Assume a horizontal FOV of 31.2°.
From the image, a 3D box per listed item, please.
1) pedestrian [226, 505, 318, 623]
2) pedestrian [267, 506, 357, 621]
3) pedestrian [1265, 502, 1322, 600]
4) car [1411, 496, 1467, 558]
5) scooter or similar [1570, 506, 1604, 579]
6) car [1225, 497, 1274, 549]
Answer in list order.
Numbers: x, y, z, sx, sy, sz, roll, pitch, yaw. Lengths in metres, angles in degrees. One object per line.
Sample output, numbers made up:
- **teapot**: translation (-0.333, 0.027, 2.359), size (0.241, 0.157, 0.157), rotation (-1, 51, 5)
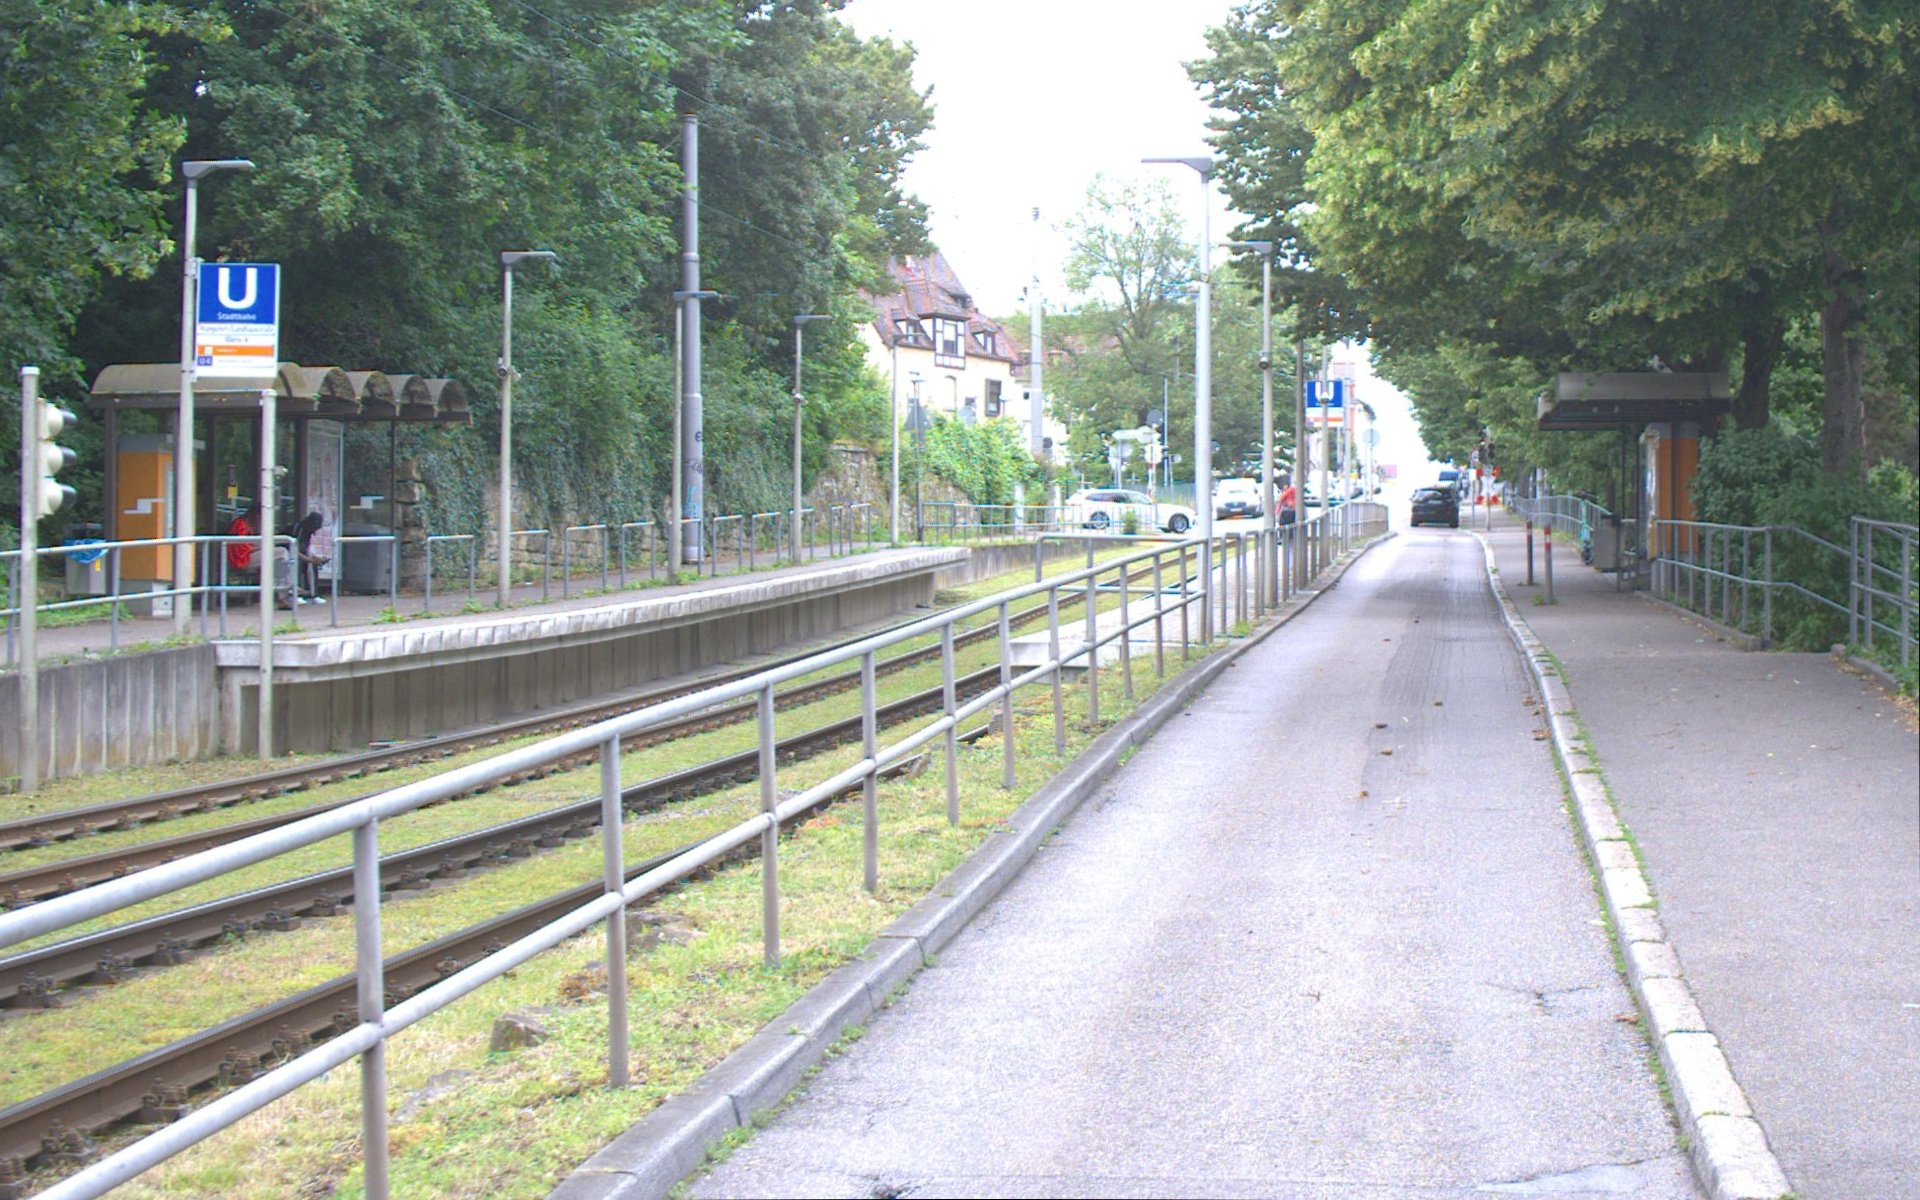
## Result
- **pedestrian**: translation (-7.991, -0.418, 39.974), size (0.772, 1.321, 0.787), rotation (3, 1, 8)
- **pedestrian**: translation (-7.744, -0.432, 41.097), size (0.772, 1.321, 0.787), rotation (3, -1, 8)
- **pedestrian**: translation (4.993, -0.735, 51.407), size (0.742, 1.404, 0.746), rotation (3, 3, 8)
- **car**: translation (18.590, -2.820, 133.447), size (1.994, 2.138, 3.998), rotation (3, -1, 8)
- **scooter or similar**: translation (10.442, -0.955, 57.262), size (0.342, 1.153, 1.146), rotation (3, -1, 2)
- **car**: translation (13.508, -3.575, 160.250), size (1.994, 2.138, 3.998), rotation (3, -1, 8)
